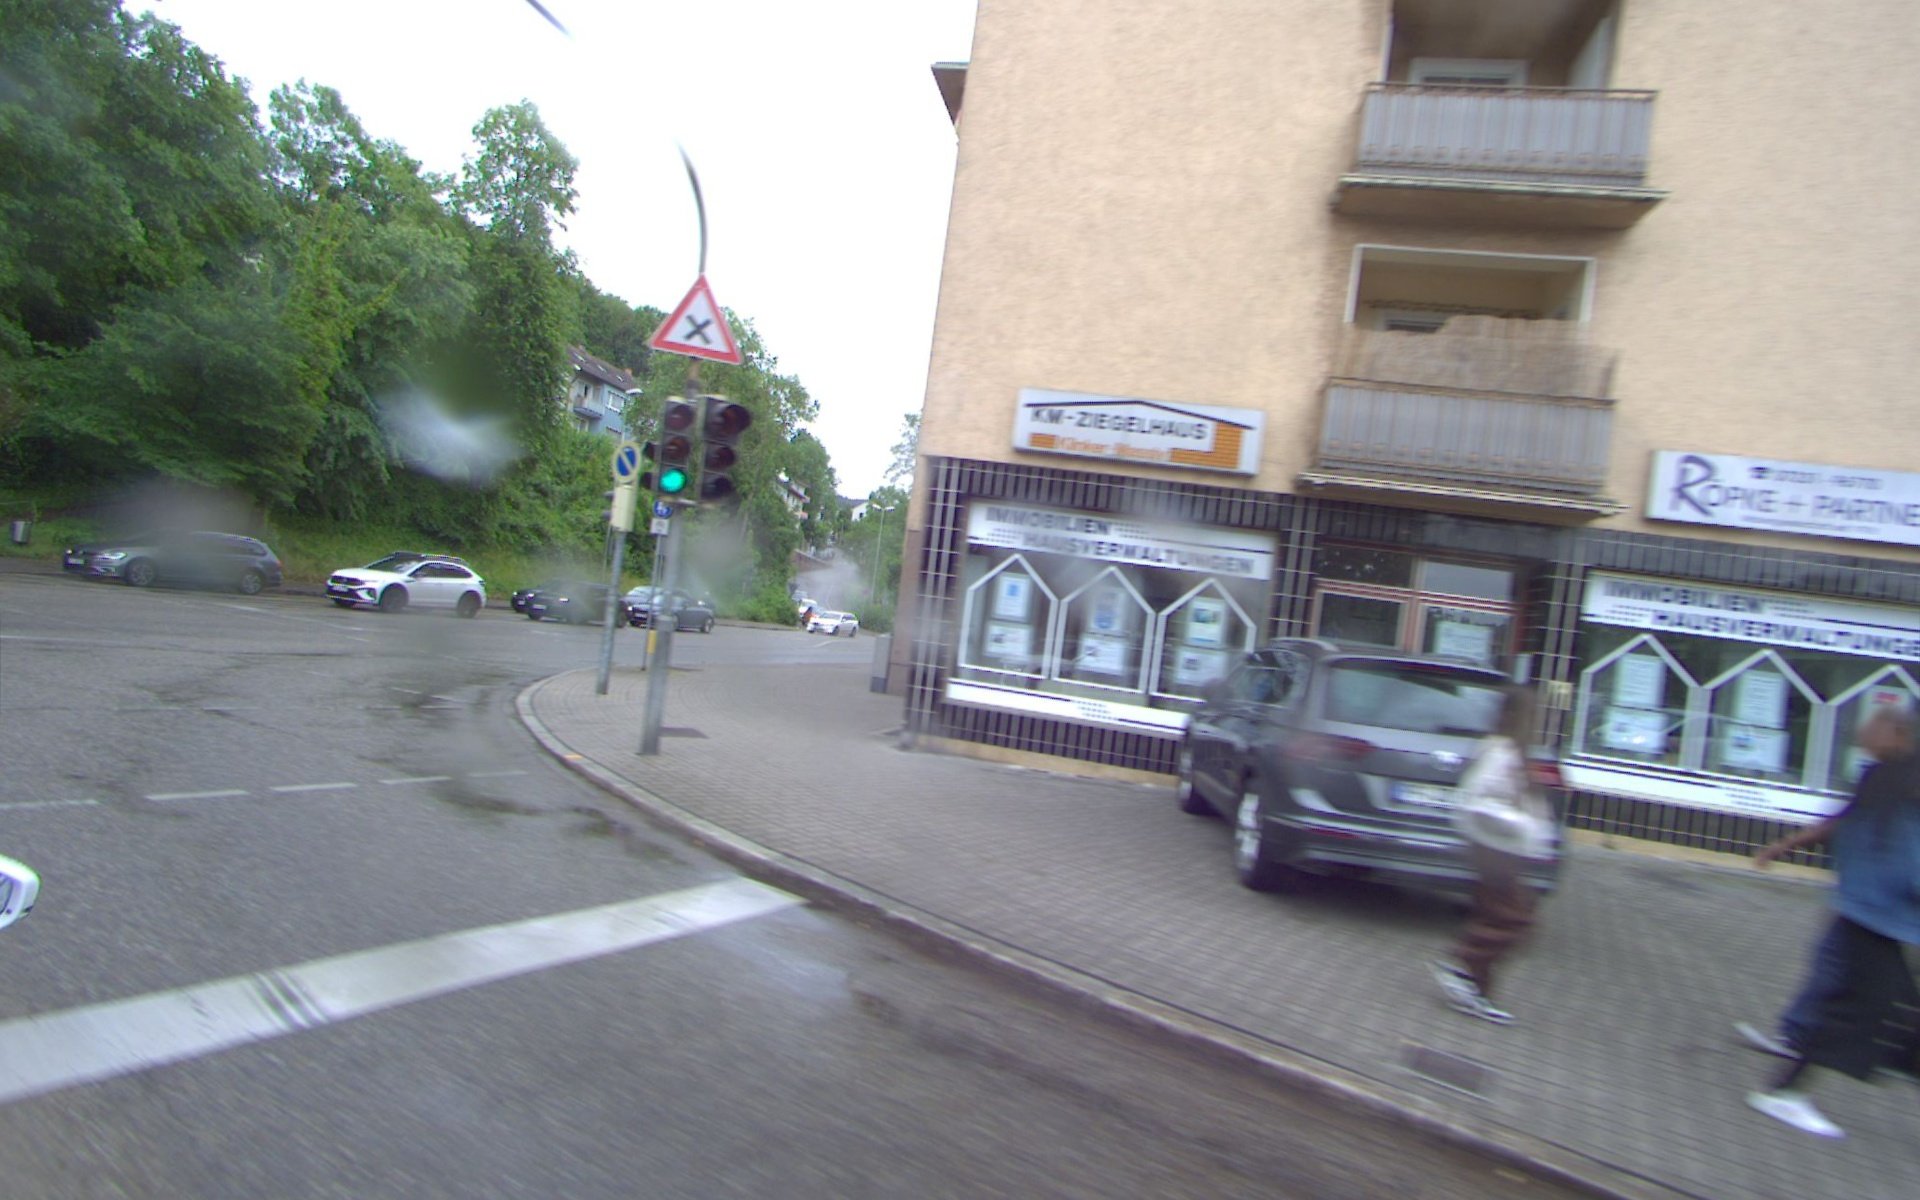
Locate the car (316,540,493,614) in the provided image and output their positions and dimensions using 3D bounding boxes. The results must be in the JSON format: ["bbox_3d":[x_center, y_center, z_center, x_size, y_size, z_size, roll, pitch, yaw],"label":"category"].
[{"bbox_3d":[-16.962,-0.630,31.010,1.793,1.717,4.629,7,-1,20],"label":"car"}]

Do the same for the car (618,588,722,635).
[{"bbox_3d":[-11.111,0.486,38.843,1.775,1.386,4.159,7,-2,17],"label":"car"}]

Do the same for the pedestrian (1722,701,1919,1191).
[{"bbox_3d":[3.516,1.253,3.779,0.782,1.621,0.658,7,2,28],"label":"pedestrian"}]

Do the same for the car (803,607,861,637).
[{"bbox_3d":[-7.992,1.445,63.439,1.981,1.500,4.969,7,-2,12],"label":"car"}]

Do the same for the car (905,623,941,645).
[{"bbox_3d":[-2.807,2.634,77.419,1.775,1.386,4.160,7,-2,10],"label":"car"}]

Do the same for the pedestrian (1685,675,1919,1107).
[{"bbox_3d":[3.992,1.247,4.658,0.768,1.699,0.761,8,2,31],"label":"pedestrian"}]

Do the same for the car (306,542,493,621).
[{"bbox_3d":[-14.791,-0.436,26.834,1.775,1.580,4.159,7,-2,17],"label":"car"}]

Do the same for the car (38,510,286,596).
[{"bbox_3d":[-19.292,-1.076,24.589,1.848,1.520,4.339,7,0,20],"label":"car"}]

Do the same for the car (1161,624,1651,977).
[{"bbox_3d":[2.859,1.139,7.684,1.848,1.669,4.382,7,0,4],"label":"car"}]

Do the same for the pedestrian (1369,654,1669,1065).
[{"bbox_3d":[2.487,1.108,4.593,0.766,1.595,0.763,7,2,4],"label":"pedestrian"}]

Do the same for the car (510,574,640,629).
[{"bbox_3d":[-12.735,0.105,33.554,1.775,1.386,4.159,7,-2,17],"label":"car"}]

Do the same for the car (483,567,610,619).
[{"bbox_3d":[-15.622,-0.215,38.273,1.793,1.499,4.630,7,-1,17],"label":"car"}]

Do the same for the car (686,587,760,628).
[{"bbox_3d":[-12.116,0.444,51.754,1.792,1.717,4.631,7,-1,11],"label":"car"}]
